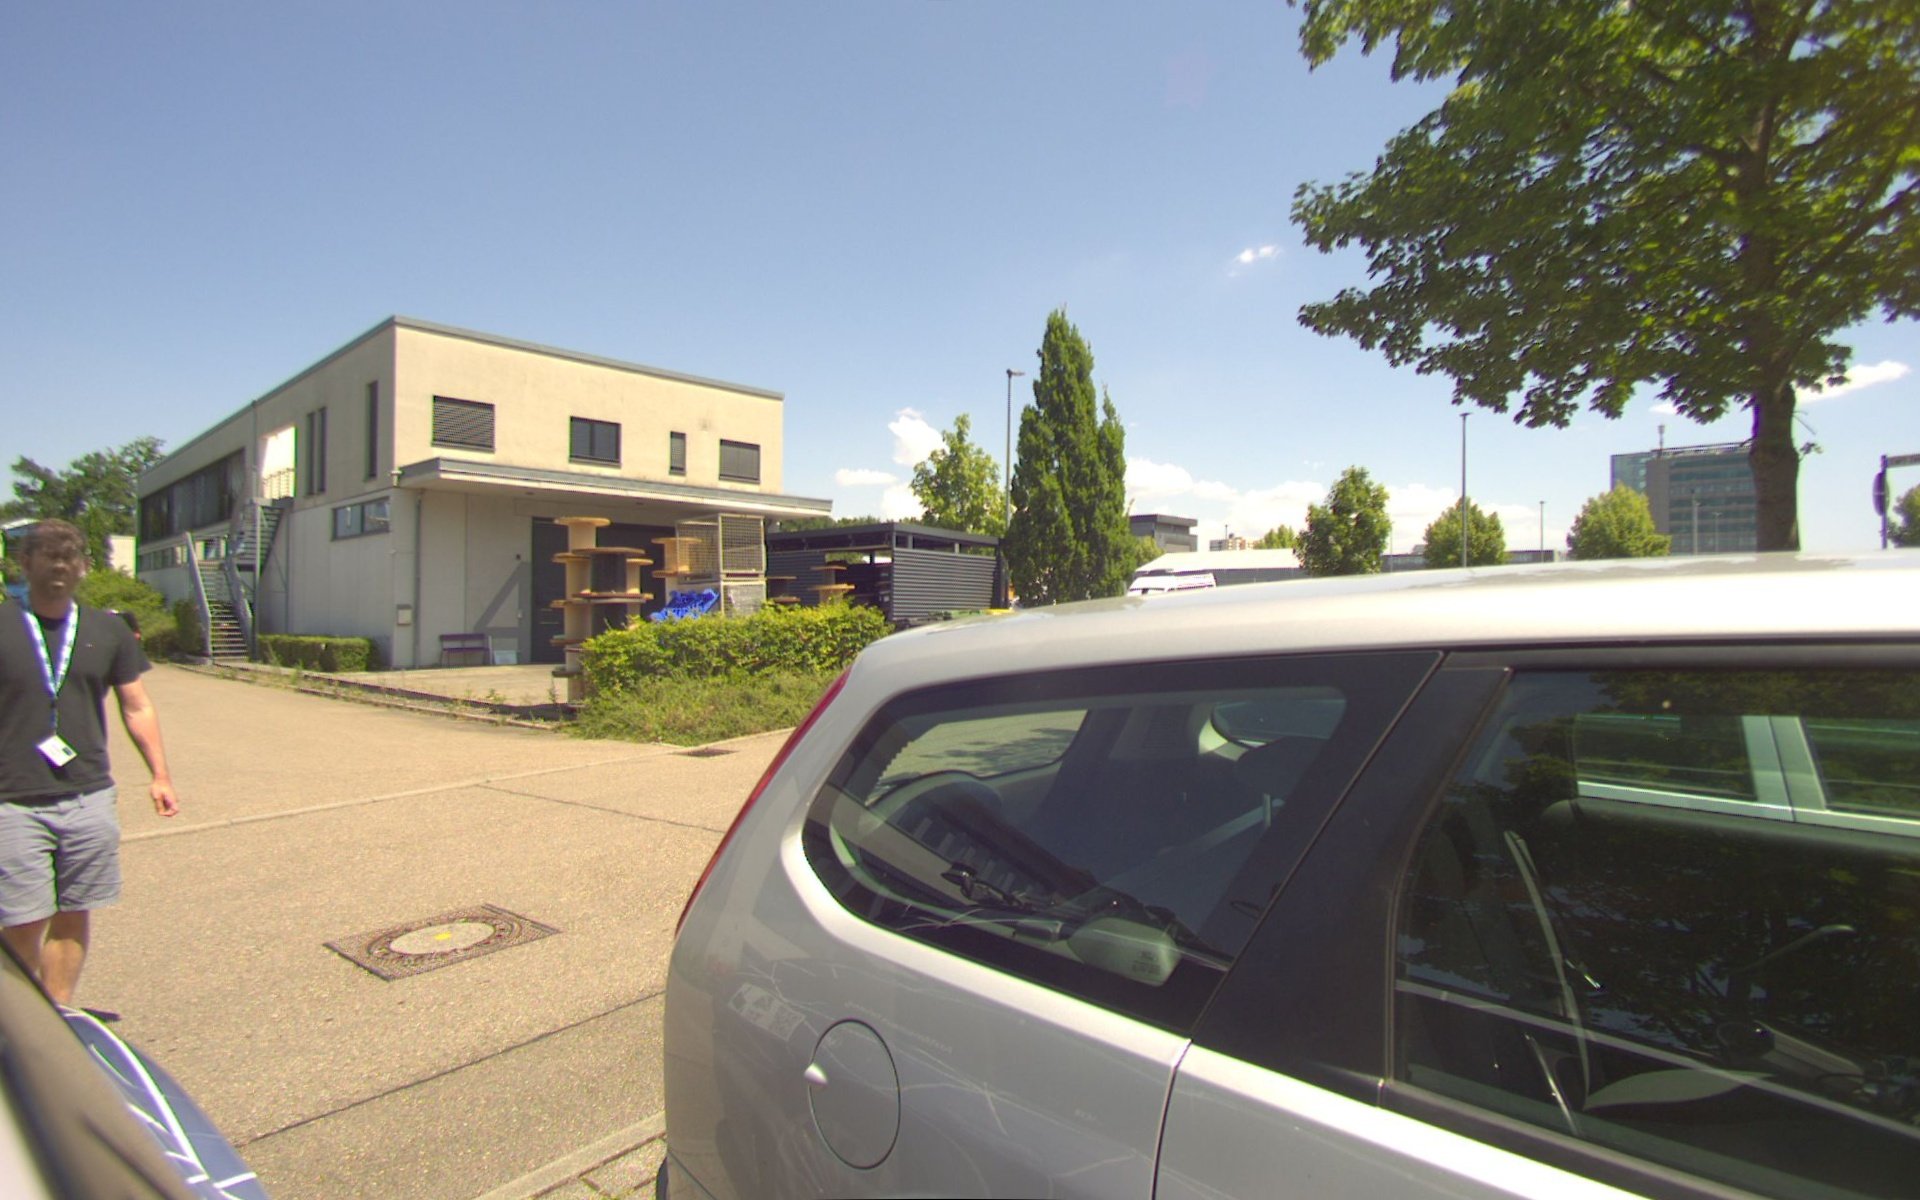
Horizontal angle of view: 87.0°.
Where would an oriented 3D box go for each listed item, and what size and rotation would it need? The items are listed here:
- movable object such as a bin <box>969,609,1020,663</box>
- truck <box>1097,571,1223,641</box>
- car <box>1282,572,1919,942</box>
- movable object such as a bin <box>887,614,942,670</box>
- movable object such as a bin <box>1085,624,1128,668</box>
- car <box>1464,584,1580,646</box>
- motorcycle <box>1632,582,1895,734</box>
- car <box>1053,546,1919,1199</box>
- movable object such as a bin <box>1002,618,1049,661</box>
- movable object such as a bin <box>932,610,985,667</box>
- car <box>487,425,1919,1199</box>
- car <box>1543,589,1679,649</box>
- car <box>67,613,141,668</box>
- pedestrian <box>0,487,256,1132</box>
[{"bbox_3d":[0.882,0.912,25.955,1.056,1.346,0.761,-1,-1,-42],"label":"movable object such as a bin"},{"bbox_3d":[8.321,0.222,41.720,2.419,2.692,5.616,-2,-1,44],"label":"truck"},{"bbox_3d":[3.796,0.623,4.996,3.884,1.459,1.632,-1,0,36],"label":"car"},{"bbox_3d":[-1.092,0.994,24.180,1.056,1.280,0.761,-1,0,-42],"label":"movable object such as a bin"},{"bbox_3d":[3.346,1.034,23.055,0.581,0.977,0.761,-1,-1,-41],"label":"movable object such as a bin"},{"bbox_3d":[16.822,0.409,30.236,3.938,1.751,1.775,-1,0,-41],"label":"car"},{"bbox_3d":[7.959,0.562,10.142,1.985,1.400,0.478,-2,-1,36],"label":"motorcycle"},{"bbox_3d":[2.373,0.626,3.028,3.884,1.490,1.632,-1,0,36],"label":"car"},{"bbox_3d":[1.717,1.027,26.658,0.973,1.092,0.761,-1,0,-42],"label":"movable object such as a bin"},{"bbox_3d":[-0.035,0.931,24.986,1.056,1.346,0.761,-1,-1,-42],"label":"movable object such as a bin"},{"bbox_3d":[1.477,0.633,0.882,4.344,1.490,1.702,-1,0,39],"label":"car"},{"bbox_3d":[18.072,0.487,28.055,3.932,1.533,1.658,-1,0,-32],"label":"car"},{"bbox_3d":[-30.788,1.404,36.358,1.762,1.817,4.003,-1,0,-44],"label":"car"},{"bbox_3d":[-2.962,0.600,3.321,0.904,1.834,0.849,-2,-1,39],"label":"pedestrian"}]
